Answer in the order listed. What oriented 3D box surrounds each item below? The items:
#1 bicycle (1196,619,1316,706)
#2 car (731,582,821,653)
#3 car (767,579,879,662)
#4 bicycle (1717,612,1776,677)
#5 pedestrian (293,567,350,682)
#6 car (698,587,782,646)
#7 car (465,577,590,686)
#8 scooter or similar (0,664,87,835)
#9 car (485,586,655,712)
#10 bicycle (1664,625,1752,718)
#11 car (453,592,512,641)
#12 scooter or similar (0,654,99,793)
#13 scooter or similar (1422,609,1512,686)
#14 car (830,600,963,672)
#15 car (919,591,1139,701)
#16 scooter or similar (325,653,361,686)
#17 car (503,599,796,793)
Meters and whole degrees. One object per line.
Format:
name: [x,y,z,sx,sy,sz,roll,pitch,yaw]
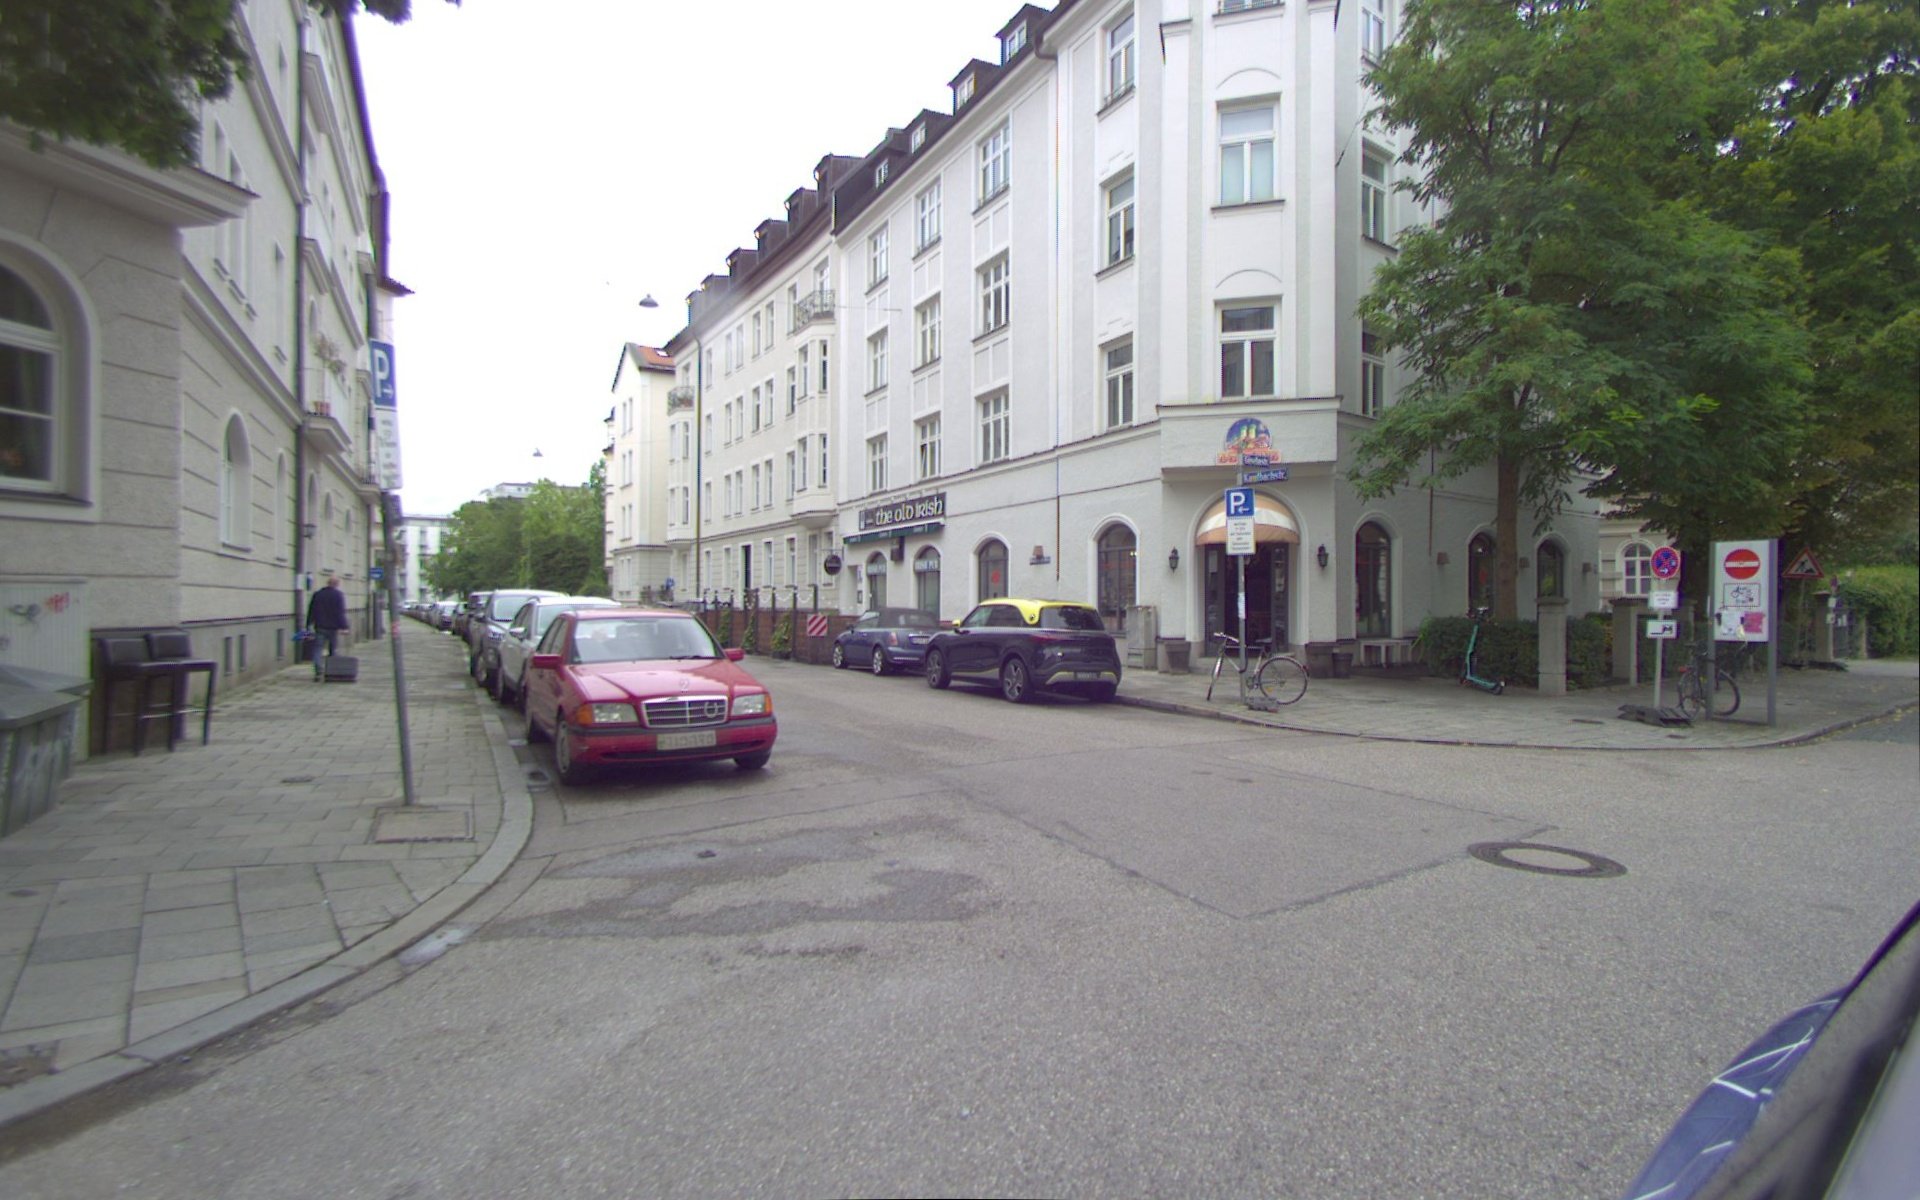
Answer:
bicycle: [4.333,0.883,14.911,0.725,1.082,1.607,-4,4,-34]
car: [-5.512,0.485,30.014,1.695,1.959,3.665,0,0,-26]
car: [-3.652,0.498,26.444,1.738,1.994,3.938,0,0,-27]
bicycle: [15.867,0.869,20.400,1.699,1.212,0.429,0,5,-38]
pedestrian: [-10.761,0.400,17.061,0.730,1.900,0.494,0,-1,-43]
car: [-7.417,0.521,33.858,1.707,1.836,4.005,0,0,-28]
car: [-7.966,0.487,18.435,1.716,1.733,4.348,1,0,-28]
scooter or similar: [-5.820,0.849,5.868,0.905,0.859,1.188,0,0,-28]
car: [-5.679,0.598,14.478,1.535,1.540,3.901,0,0,-32]
bicycle: [10.098,0.935,13.646,1.558,1.161,0.390,0,0,-31]
car: [-17.748,0.573,37.529,1.795,1.692,4.062,0,0,-28]
scooter or similar: [-6.623,0.836,7.064,0.682,0.836,1.243,0,0,-28]
scooter or similar: [8.568,0.772,17.165,0.396,1.187,1.611,0,2,-15]
car: [-1.473,0.723,22.149,1.666,1.443,3.546,0,0,-26]
car: [1.018,0.676,17.108,1.866,1.618,4.093,0,0,-27]
scooter or similar: [-10.151,1.136,16.649,0.451,0.508,0.381,0,-1,-43]
car: [-3.208,0.702,9.757,1.725,1.375,4.486,1,0,-30]
